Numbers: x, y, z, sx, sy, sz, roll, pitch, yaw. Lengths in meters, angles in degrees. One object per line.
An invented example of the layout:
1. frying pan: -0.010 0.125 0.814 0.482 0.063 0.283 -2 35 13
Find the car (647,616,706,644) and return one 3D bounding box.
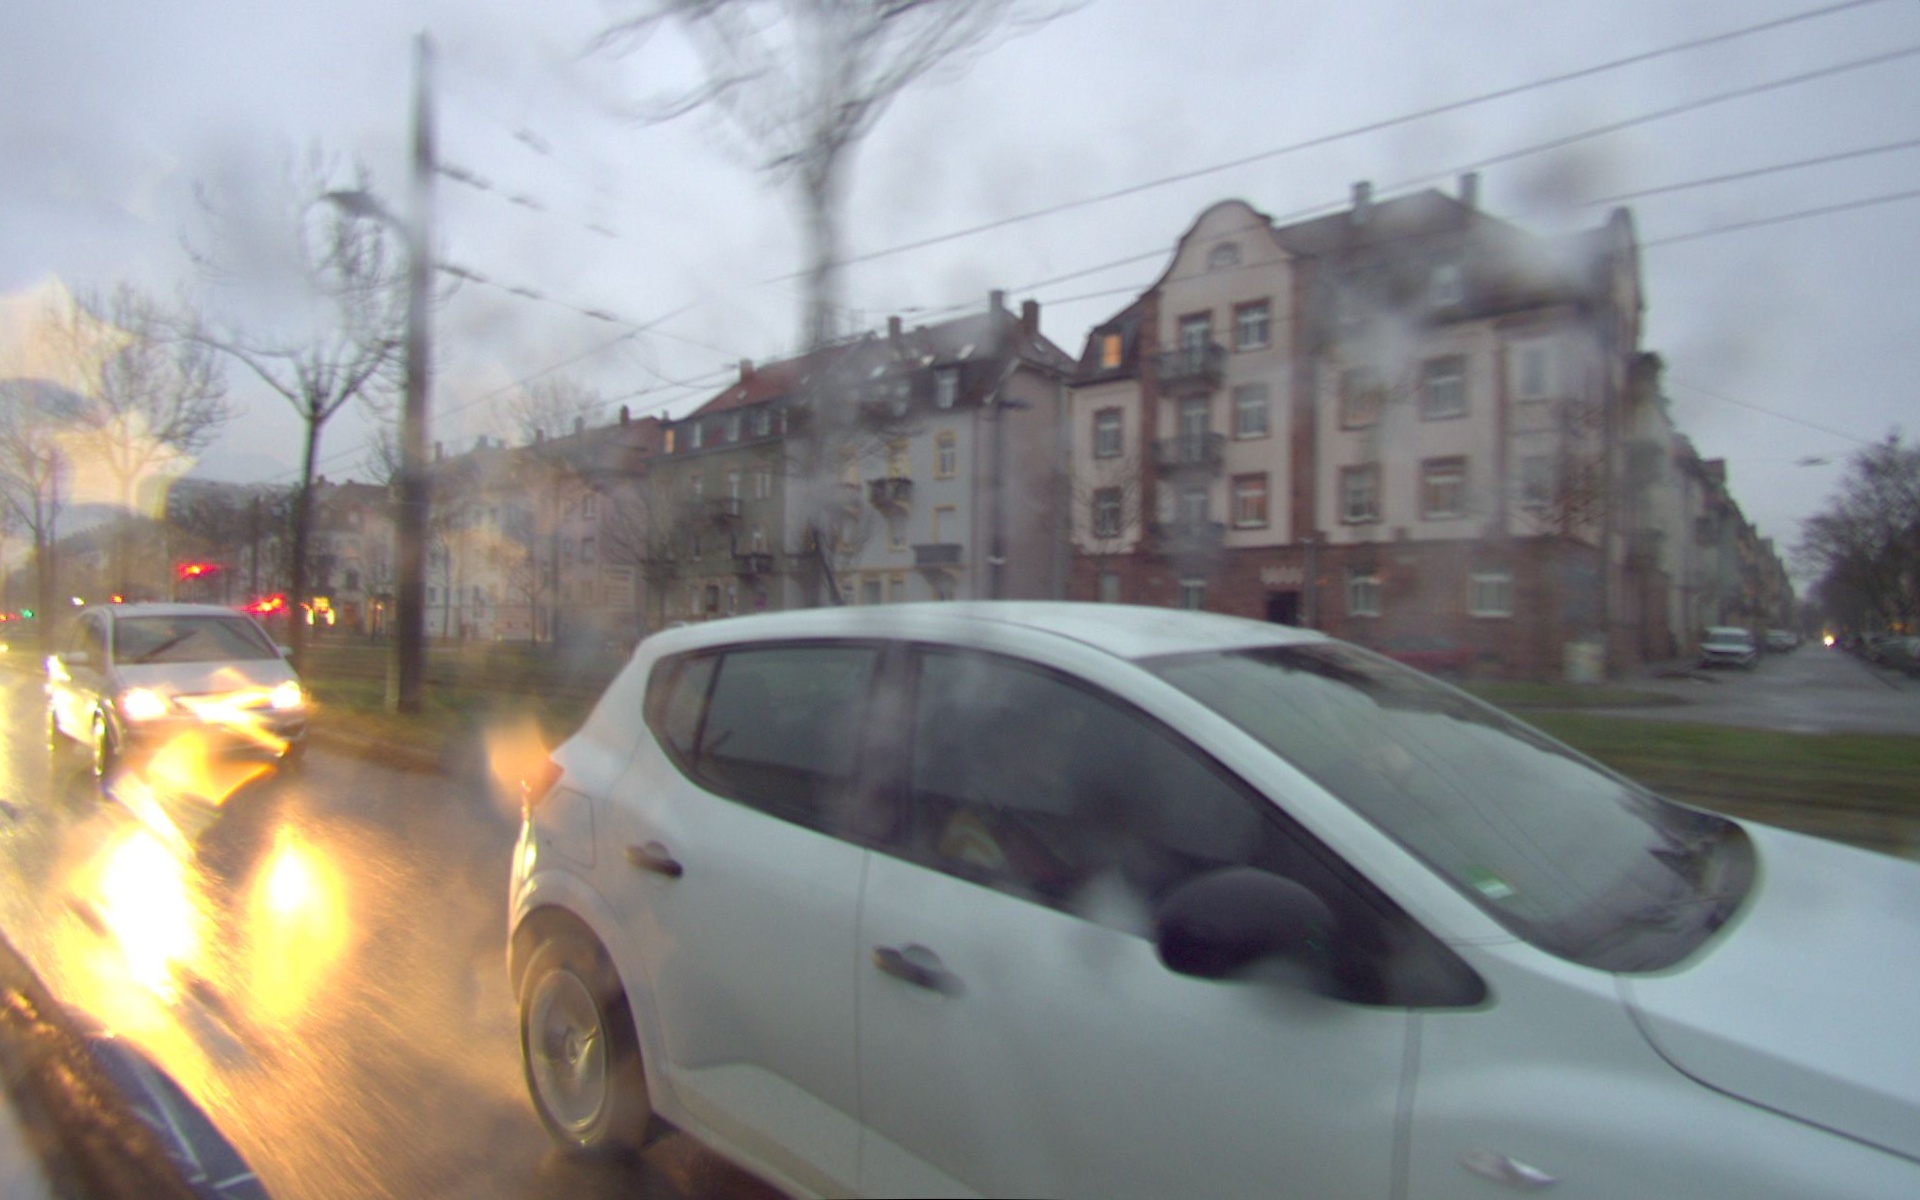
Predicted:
1. car: -16.364 1.711 58.352 3.536 1.563 1.662 -1 0 41

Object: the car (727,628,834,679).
1. car: -6.066 1.756 33.994 3.782 1.515 1.529 -1 0 42

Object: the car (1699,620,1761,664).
1. car: 32.982 1.751 43.313 1.803 1.721 3.656 -1 0 42

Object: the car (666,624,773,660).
1. car: -10.785 1.867 45.576 4.586 1.442 1.699 -1 0 -13

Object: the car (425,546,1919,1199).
1. car: 0.602 0.695 2.223 3.995 1.485 1.672 -1 0 38

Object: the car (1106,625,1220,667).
1. car: 6.138 1.382 30.749 2.870 0.997 1.800 -2 2 -14

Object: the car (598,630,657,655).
1. car: -17.752 2.234 53.949 3.898 1.177 1.217 -1 0 42

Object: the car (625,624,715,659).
1. car: -13.645 1.946 47.867 3.888 1.459 1.823 -1 0 -9

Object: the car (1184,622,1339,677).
1. car: 8.447 1.363 28.383 3.977 1.239 1.352 -2 2 -13

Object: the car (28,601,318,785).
1. car: -8.188 0.799 10.403 3.905 1.531 1.617 -1 0 41

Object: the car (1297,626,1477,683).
1. car: 11.171 1.402 26.582 4.039 1.169 1.716 -2 2 -10

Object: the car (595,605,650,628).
1. car: -23.665 1.130 70.961 1.611 1.555 3.318 -1 0 42

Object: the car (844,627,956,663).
1. car: -2.369 1.741 39.497 4.198 1.267 1.837 -1 0 -9

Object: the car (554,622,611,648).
1. car: -21.503 1.966 57.612 3.910 1.350 1.449 -1 0 43
